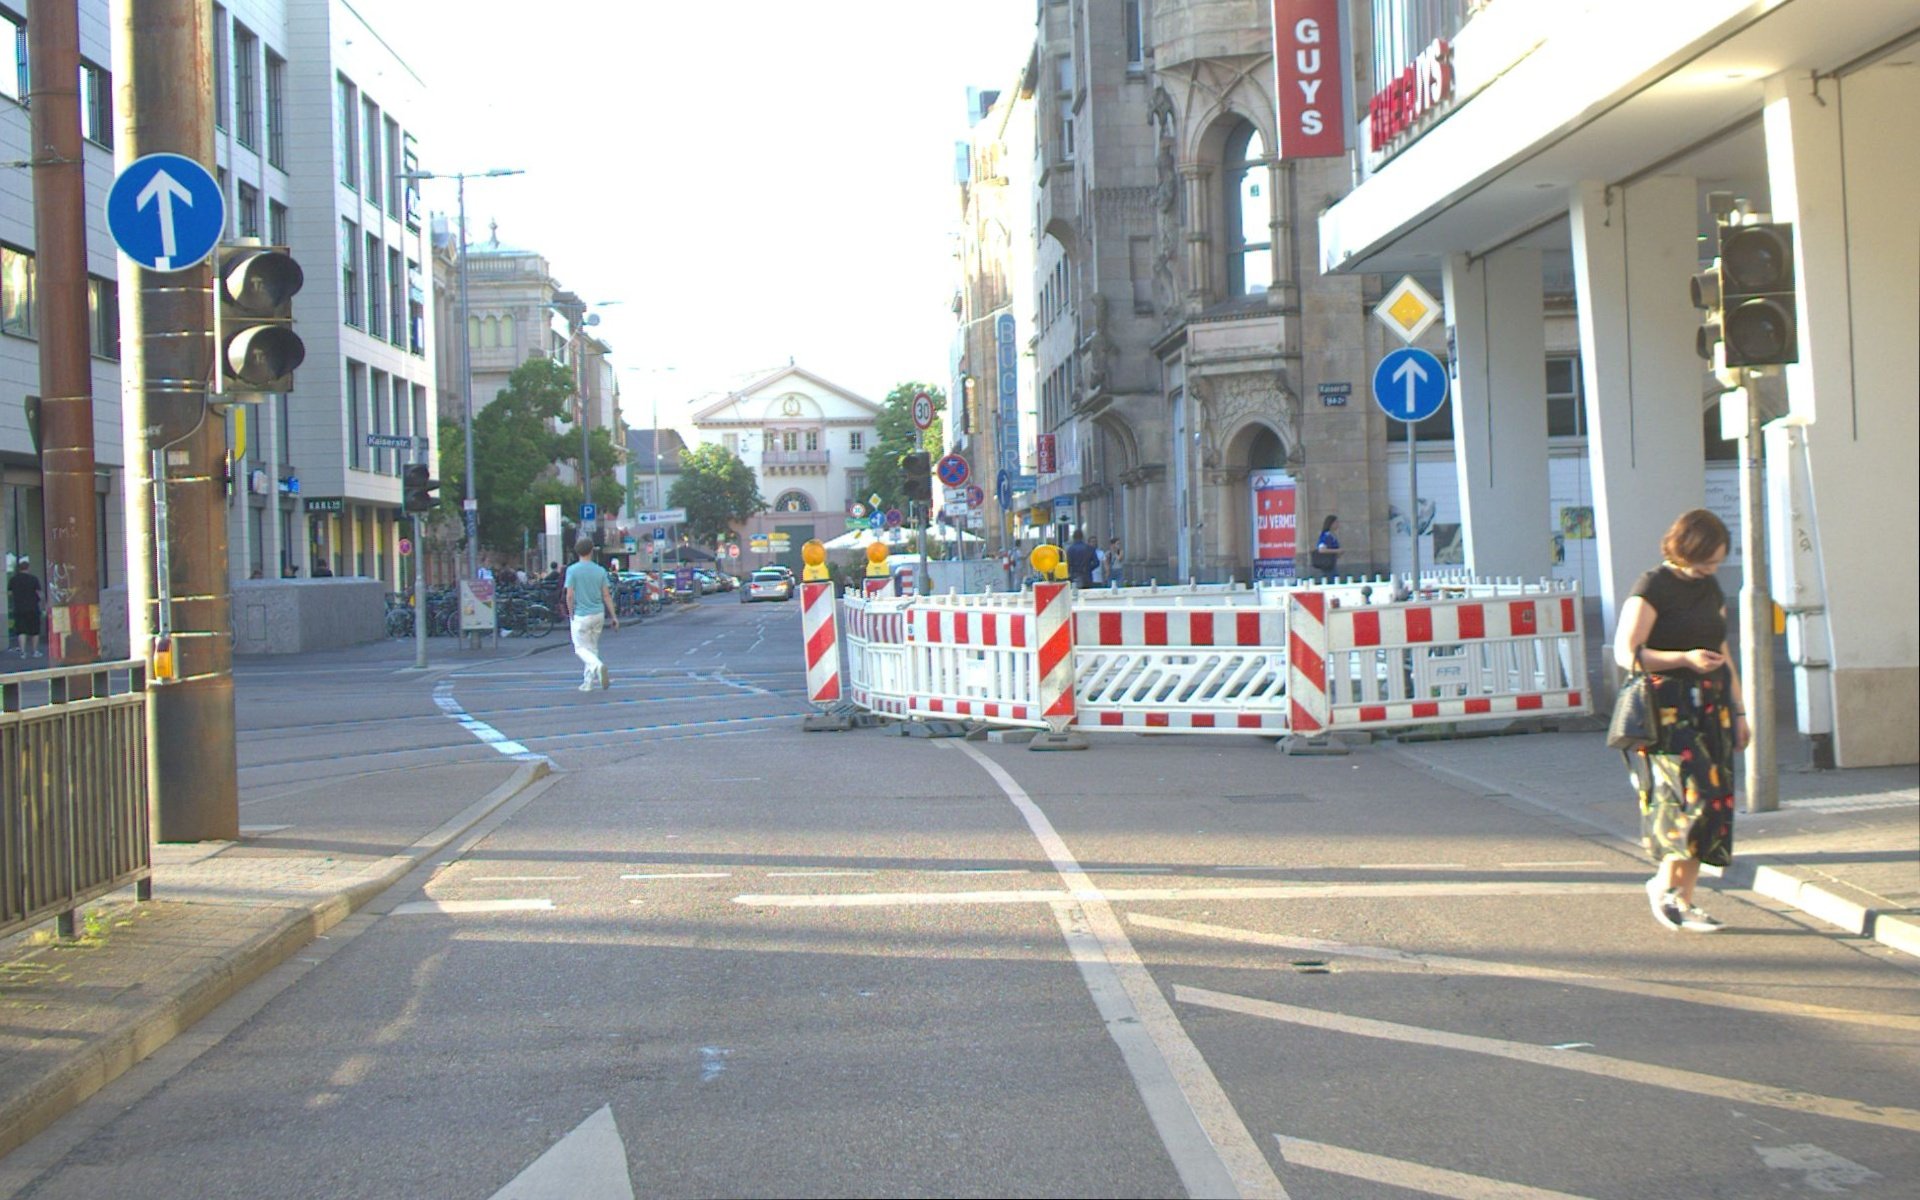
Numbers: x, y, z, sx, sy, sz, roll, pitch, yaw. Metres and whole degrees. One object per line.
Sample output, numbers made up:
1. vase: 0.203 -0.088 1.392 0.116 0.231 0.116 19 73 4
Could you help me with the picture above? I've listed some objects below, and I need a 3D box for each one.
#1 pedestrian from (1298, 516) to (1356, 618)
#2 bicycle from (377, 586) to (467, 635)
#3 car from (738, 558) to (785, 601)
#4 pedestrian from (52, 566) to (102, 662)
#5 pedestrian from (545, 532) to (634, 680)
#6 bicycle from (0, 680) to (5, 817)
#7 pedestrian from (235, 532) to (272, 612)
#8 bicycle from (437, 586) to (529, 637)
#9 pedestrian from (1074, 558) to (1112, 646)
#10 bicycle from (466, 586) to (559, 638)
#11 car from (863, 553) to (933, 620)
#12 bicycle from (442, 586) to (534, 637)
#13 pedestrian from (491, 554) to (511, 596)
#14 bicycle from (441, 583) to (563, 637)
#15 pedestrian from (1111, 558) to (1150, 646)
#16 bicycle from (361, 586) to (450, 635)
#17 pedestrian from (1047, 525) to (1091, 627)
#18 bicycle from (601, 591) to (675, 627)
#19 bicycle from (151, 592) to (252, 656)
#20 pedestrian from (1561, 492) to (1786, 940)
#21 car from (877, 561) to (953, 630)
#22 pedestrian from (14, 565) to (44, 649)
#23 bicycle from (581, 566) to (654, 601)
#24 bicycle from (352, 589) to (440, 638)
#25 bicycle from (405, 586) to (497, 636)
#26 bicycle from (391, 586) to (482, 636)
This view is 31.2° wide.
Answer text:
1. pedestrian: 5.822 -0.522 54.610 0.819 1.605 0.713 0 0 -2
2. bicycle: -12.349 0.241 78.974 1.967 1.118 0.558 0 0 -30
3. car: -8.892 -0.901 154.389 1.993 1.897 4.000 0 0 -2
4. pedestrian: -16.185 0.256 63.034 0.782 1.745 0.600 0 0 -4
5. pedestrian: -4.433 0.070 41.173 0.866 1.755 0.767 0 0 10
6. bicycle: -7.011 0.898 22.897 0.628 1.100 1.624 -2 0 -39
7. pedestrian: -14.861 -0.586 72.356 0.680 1.675 0.600 0 0 -4
8. bicycle: -10.672 0.249 76.888 1.967 1.118 0.558 0 0 -30
9. pedestrian: 2.580 0.040 66.561 0.625 1.684 0.671 -2 0 -3
10. bicycle: -9.816 0.255 75.440 1.967 1.118 0.558 0 0 -30
11. car: -1.619 -0.359 88.844 1.679 1.608 4.028 -3 0 -2
12. bicycle: -10.453 0.253 76.176 1.967 1.118 0.558 0 0 -30
13. pedestrian: -17.699 -0.959 132.627 0.679 1.615 0.573 -2 0 -2
14. bicycle: -11.437 0.249 85.899 2.887 1.251 0.804 -2 1 -27
15. pedestrian: 3.306 0.029 66.636 0.625 1.684 0.626 -2 0 -3
16. bicycle: -12.824 0.239 79.568 1.967 1.118 0.558 0 0 -30
17. pedestrian: 1.822 -0.400 57.346 0.625 1.684 0.671 -2 0 -3
18. bicycle: -9.717 0.278 103.832 2.148 1.026 0.640 -2 0 0
19. bicycle: -13.462 0.427 61.011 1.696 1.118 0.451 0 0 1
20. pedestrian: 2.745 0.433 13.256 0.699 1.687 0.541 0 0 -9
21. car: -1.101 -0.121 82.837 1.679 1.542 3.673 -3 0 -2
22. pedestrian: -16.900 0.130 62.433 0.390 1.510 0.506 -1 0 -3
23. bicycle: -10.551 -0.510 105.943 2.148 1.026 0.640 -2 0 0
24. bicycle: -13.208 0.305 80.507 1.967 1.118 0.558 0 0 -30
25. bicycle: -11.505 0.246 77.724 1.967 1.118 0.558 0 0 -30
26. bicycle: -11.930 0.244 78.355 1.967 1.118 0.558 0 0 -30
